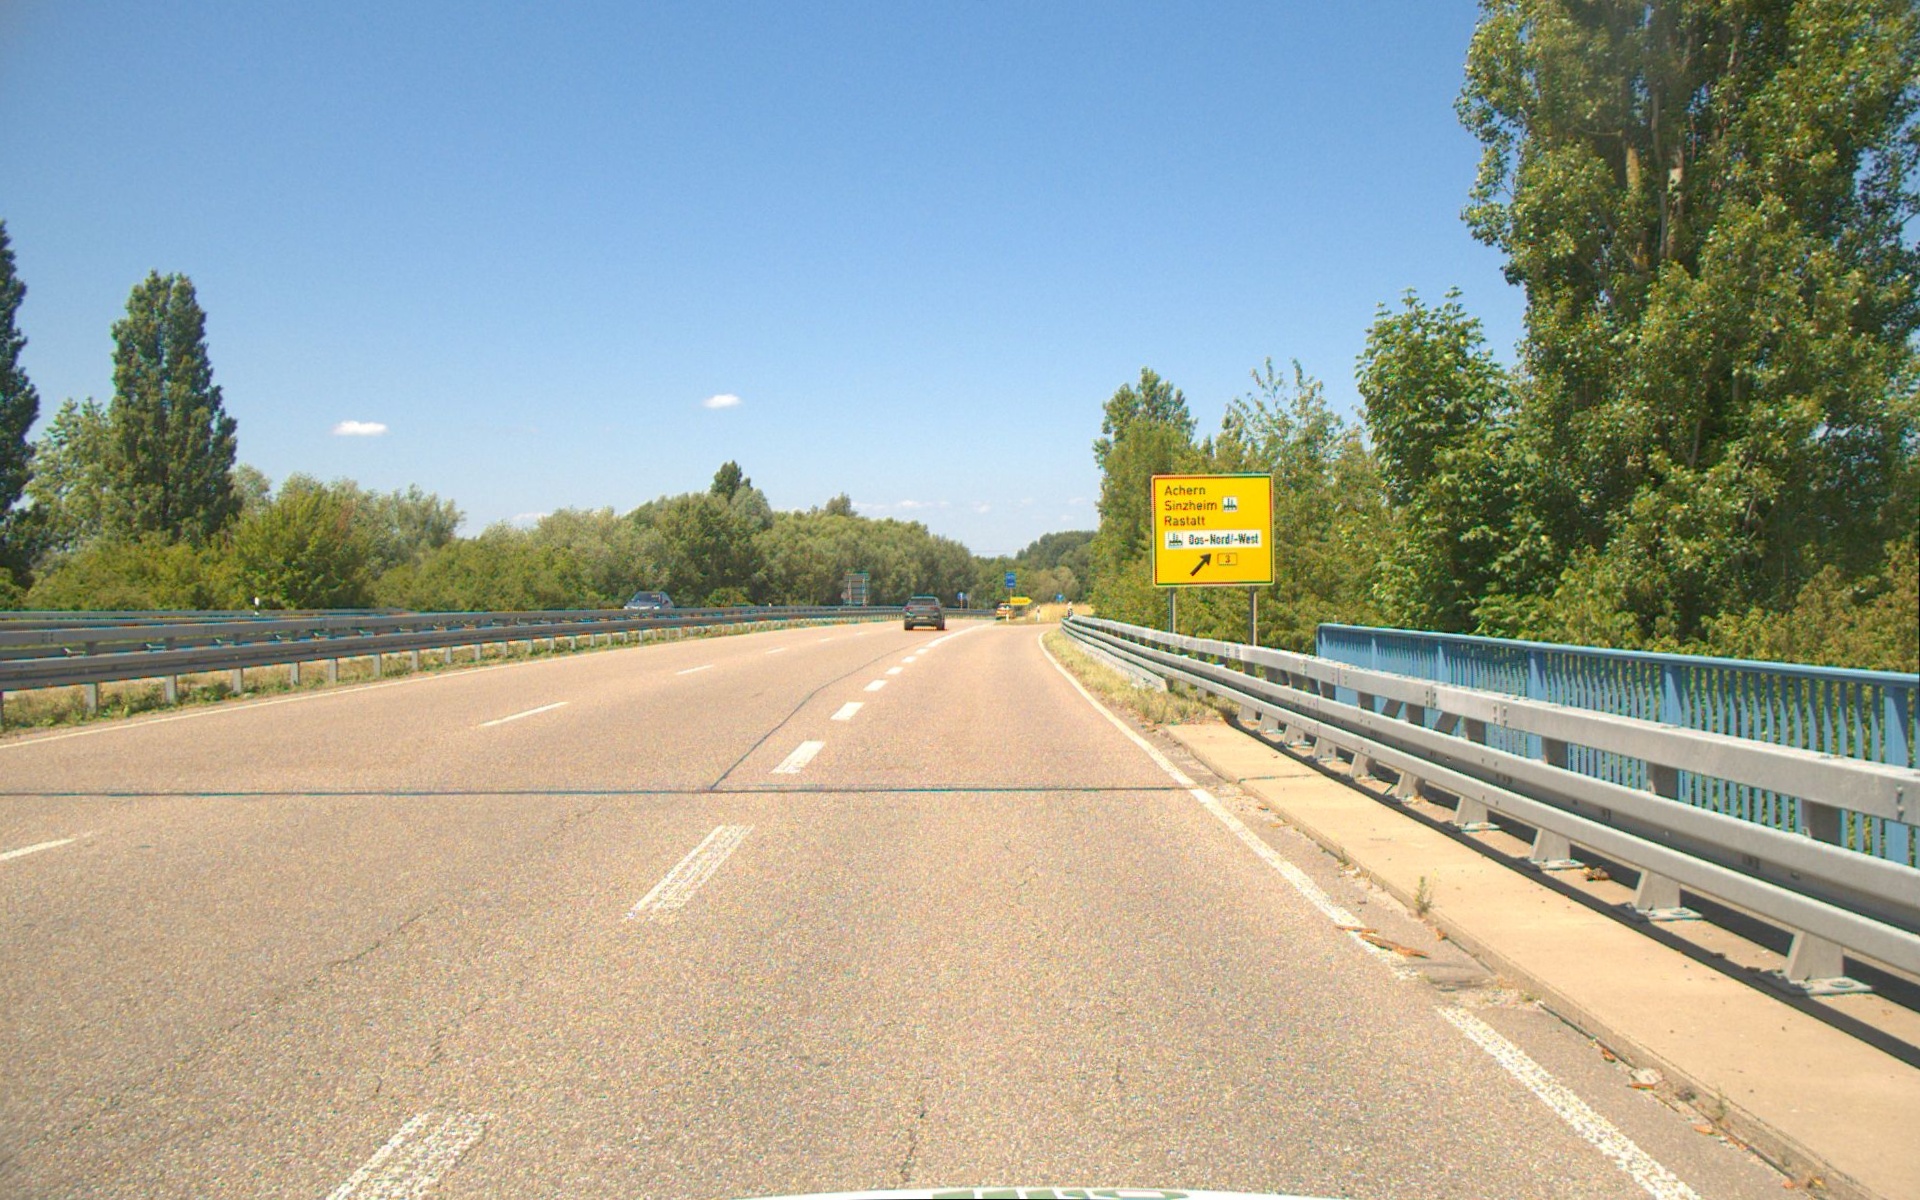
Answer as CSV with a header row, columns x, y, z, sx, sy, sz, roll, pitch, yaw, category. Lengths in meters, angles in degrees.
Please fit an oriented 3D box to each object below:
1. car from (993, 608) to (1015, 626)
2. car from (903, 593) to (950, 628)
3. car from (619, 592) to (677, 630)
x,y,z,sx,sy,sz,roll,pitch,yaw,category
3.986,1.506,149.541,1.802,1.489,4.002,1,1,4,car
-1.560,0.476,78.691,1.802,1.556,4.472,1,1,4,car
-14.287,0.485,75.846,1.787,1.676,4.189,0,0,1,car
